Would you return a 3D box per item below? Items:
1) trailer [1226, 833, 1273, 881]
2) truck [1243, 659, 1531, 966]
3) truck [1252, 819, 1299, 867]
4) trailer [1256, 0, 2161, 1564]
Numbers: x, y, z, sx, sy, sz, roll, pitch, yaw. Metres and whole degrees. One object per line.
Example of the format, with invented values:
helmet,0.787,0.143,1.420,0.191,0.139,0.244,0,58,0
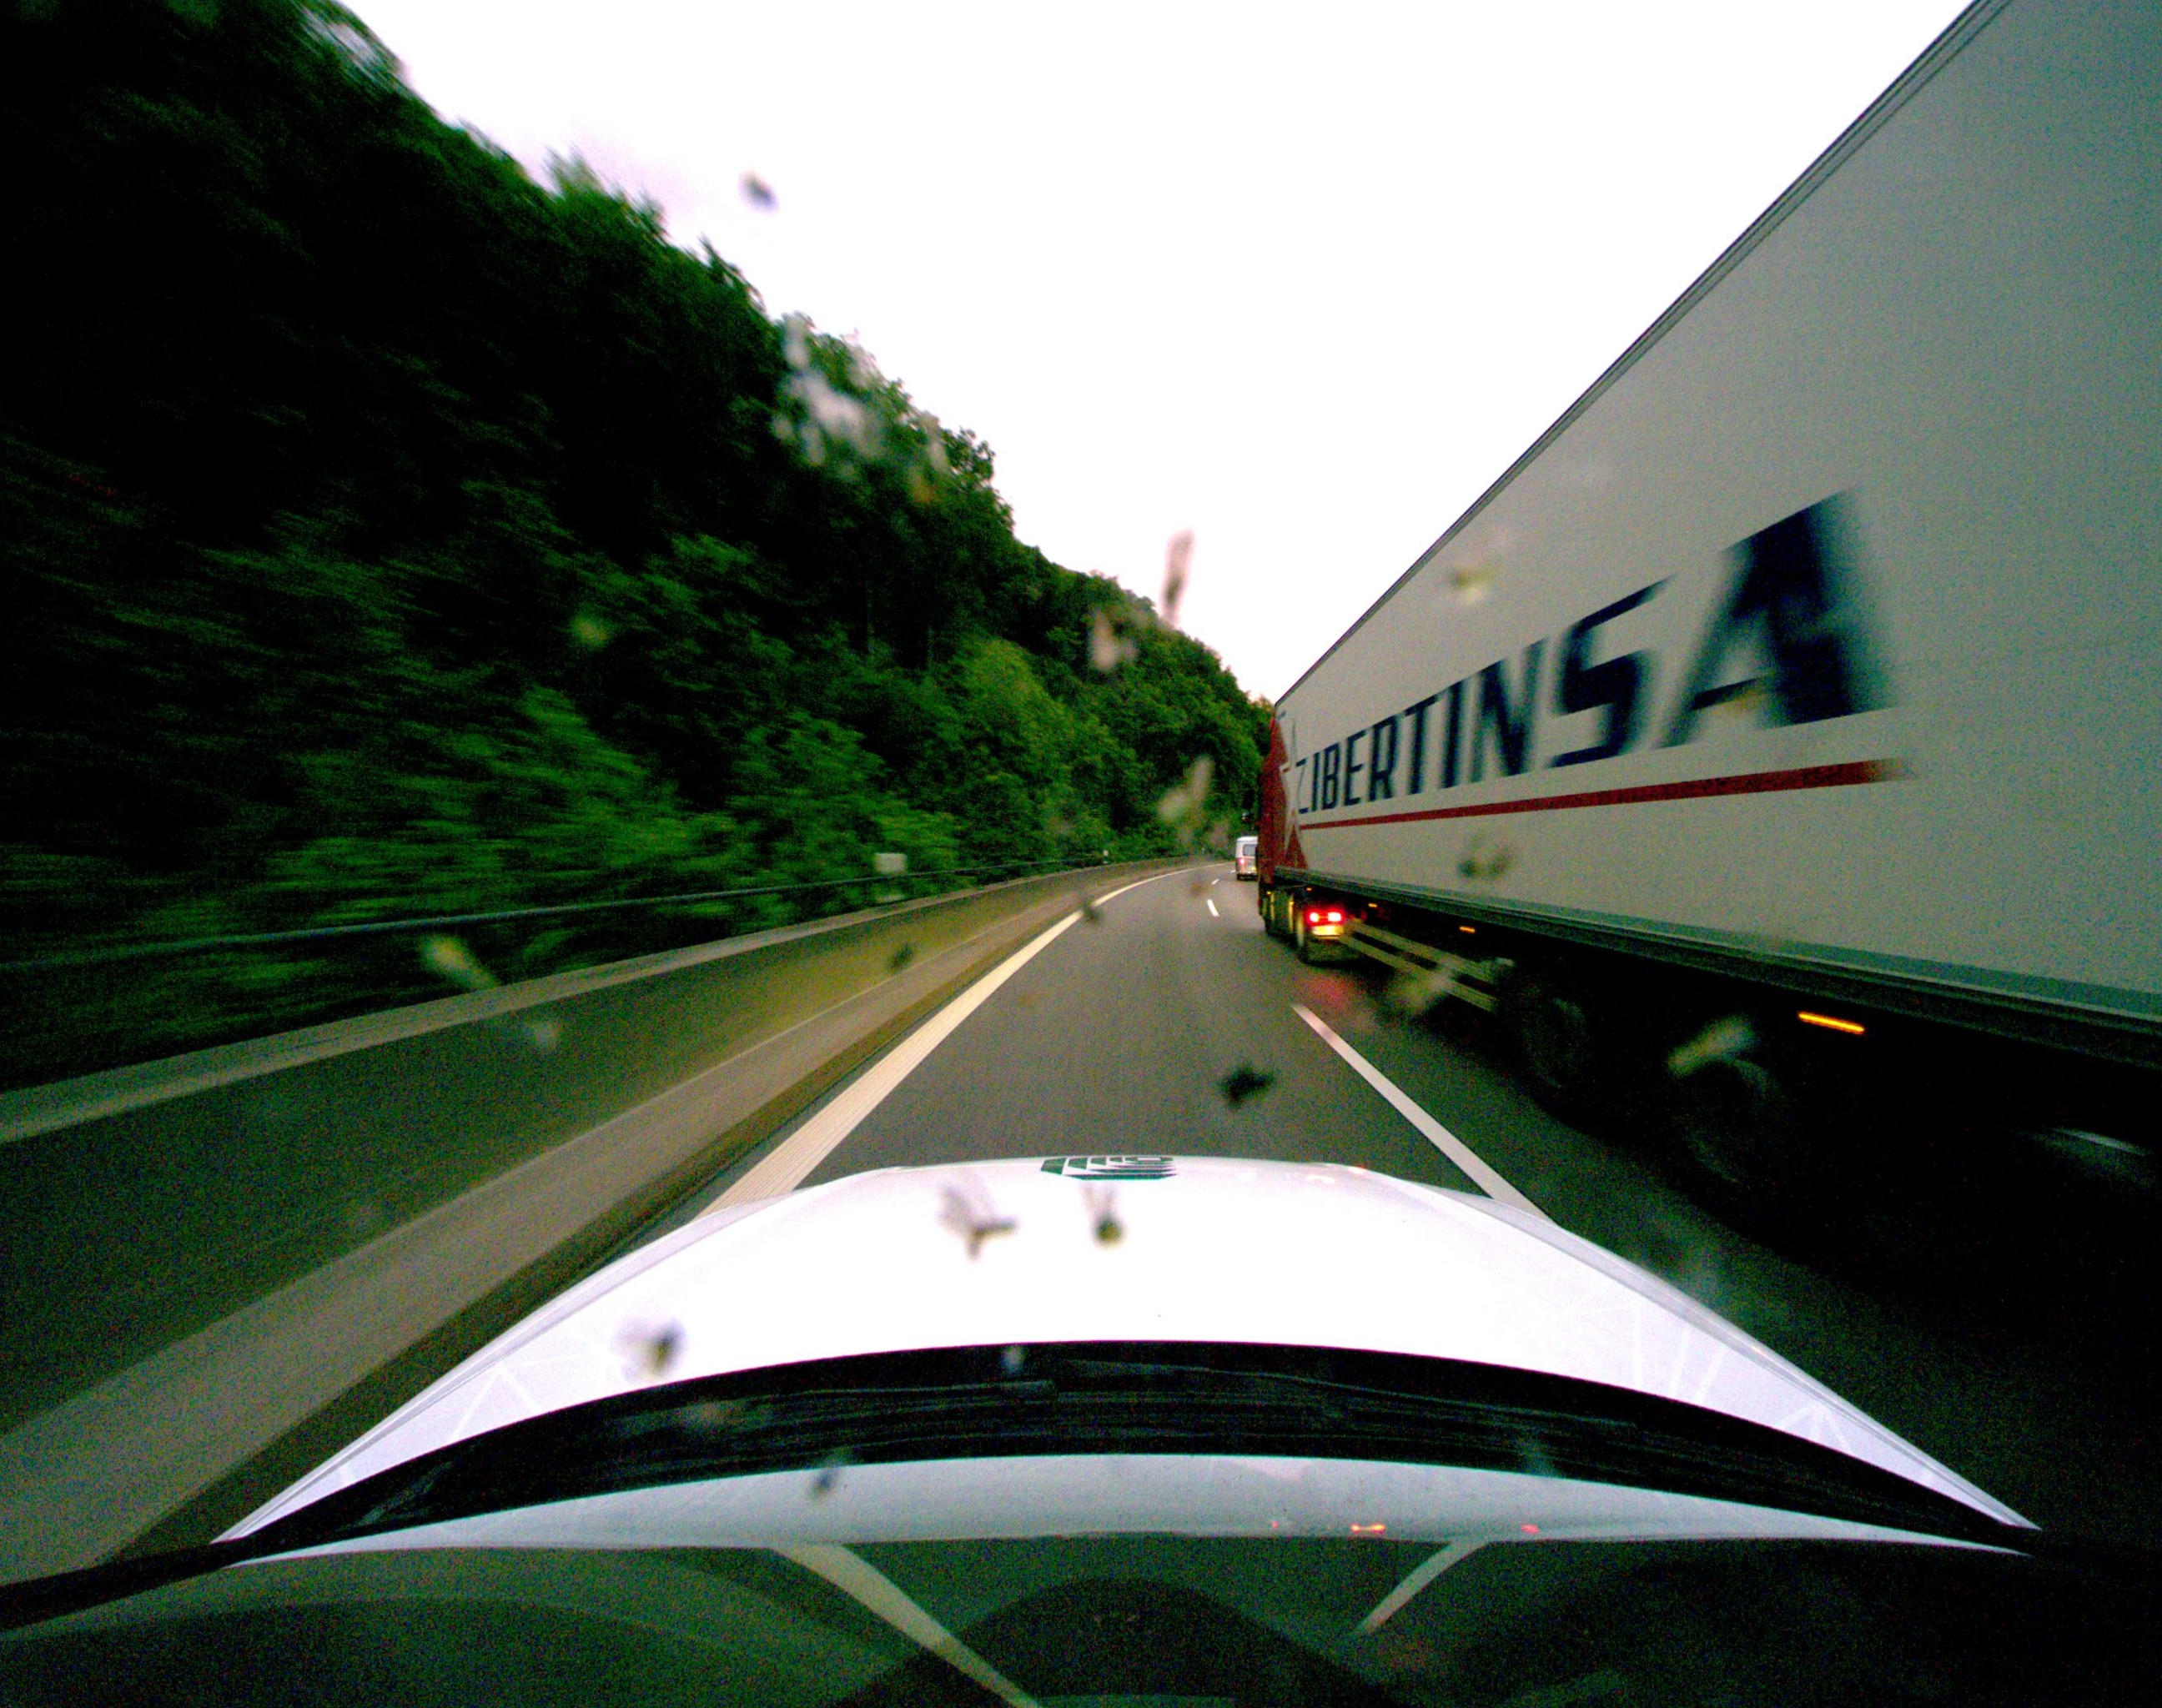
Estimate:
trailer,8.943,0.101,43.658,2.043,2.374,5.951,0,1,8
truck,4.785,-0.546,14.283,3.055,4.145,6.454,0,-1,4
truck,19.852,-0.964,82.233,3.269,4.173,16.577,-4,-1,17
trailer,4.196,-0.517,7.140,3.083,3.970,14.233,-2,0,4
